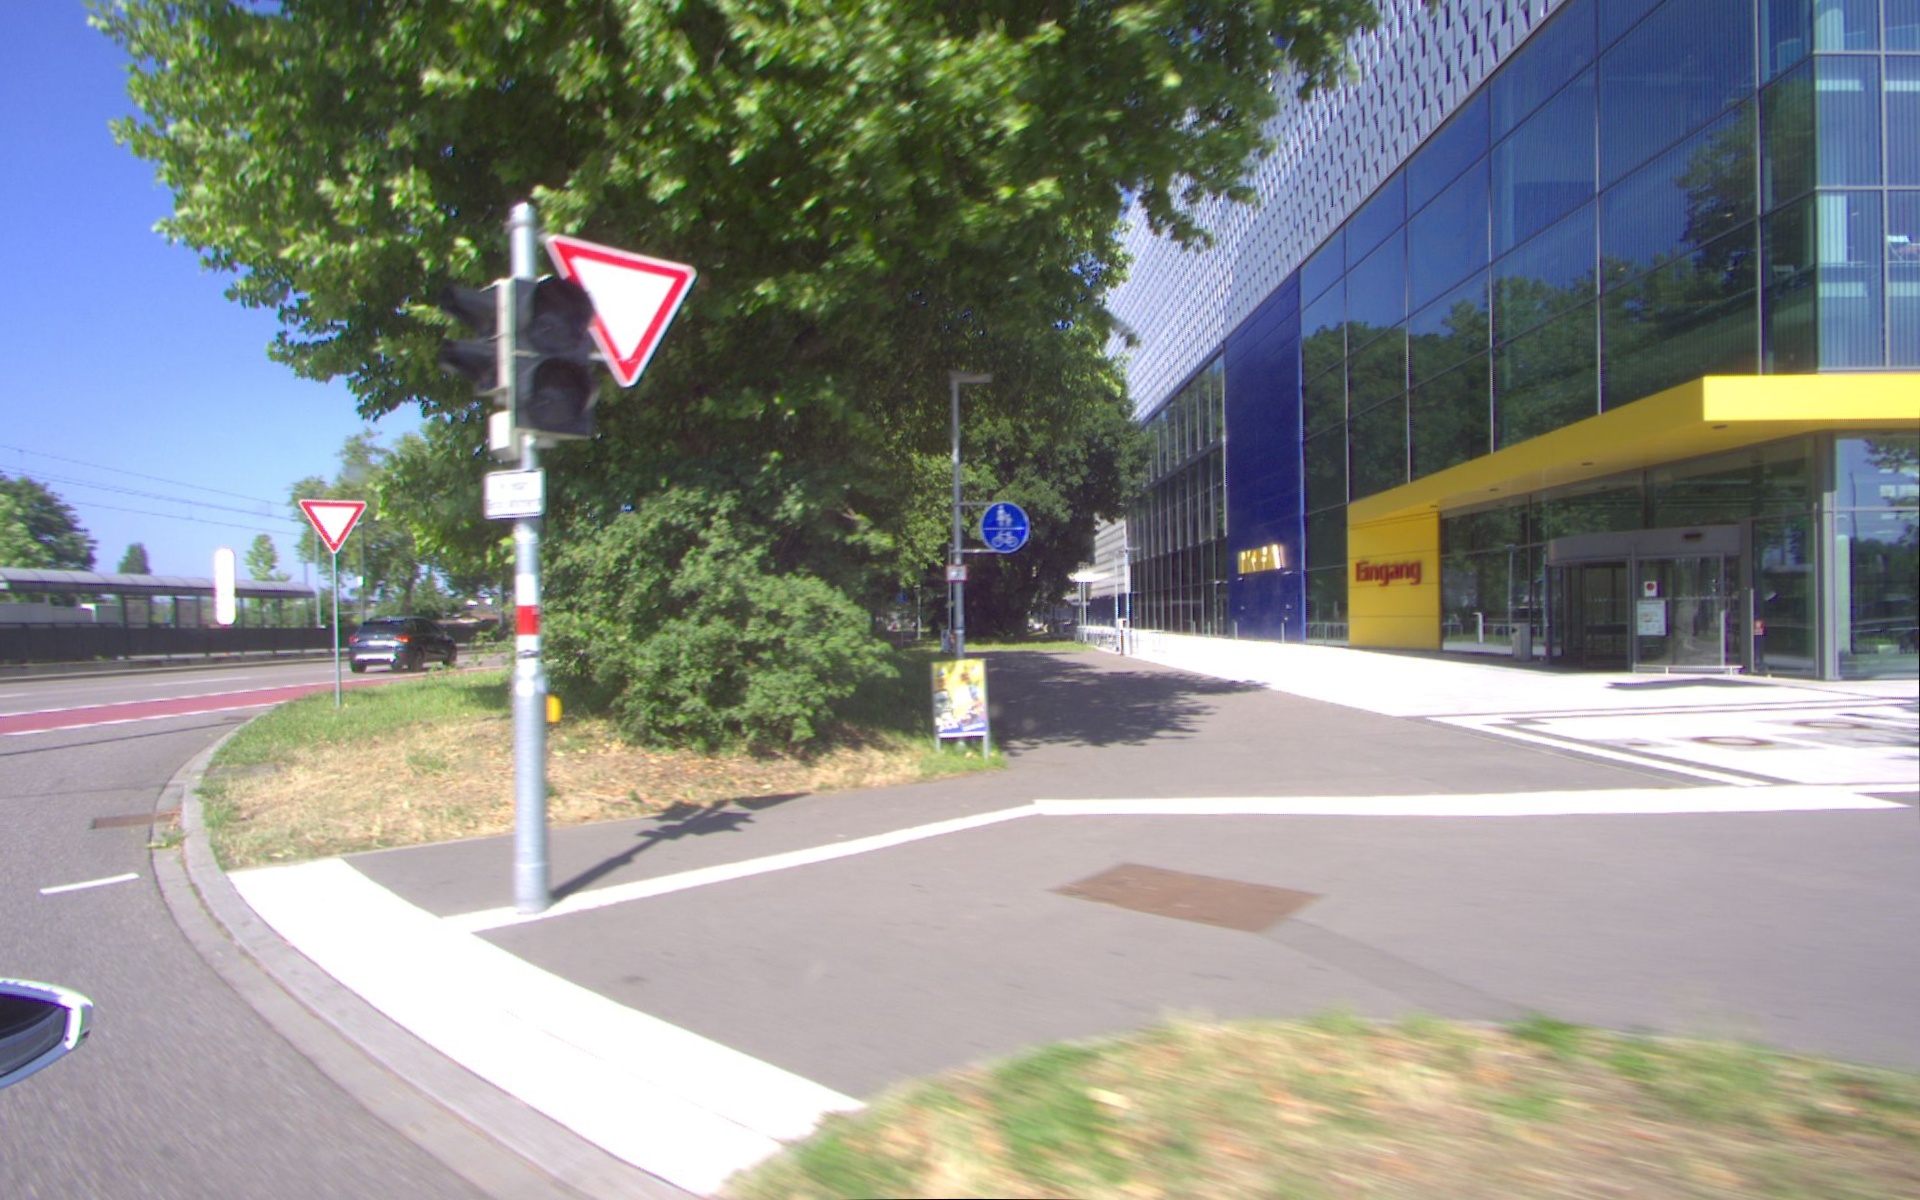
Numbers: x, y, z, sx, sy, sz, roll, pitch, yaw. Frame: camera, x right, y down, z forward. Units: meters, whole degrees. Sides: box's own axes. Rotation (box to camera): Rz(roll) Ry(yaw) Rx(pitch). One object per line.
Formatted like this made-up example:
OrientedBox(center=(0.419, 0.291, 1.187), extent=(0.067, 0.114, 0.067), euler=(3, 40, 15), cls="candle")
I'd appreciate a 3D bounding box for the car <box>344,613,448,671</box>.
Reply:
OrientedBox(center=(-16.036, 1.189, 28.651), extent=(1.644, 1.542, 3.375), euler=(0, -2, -12), cls="car")
